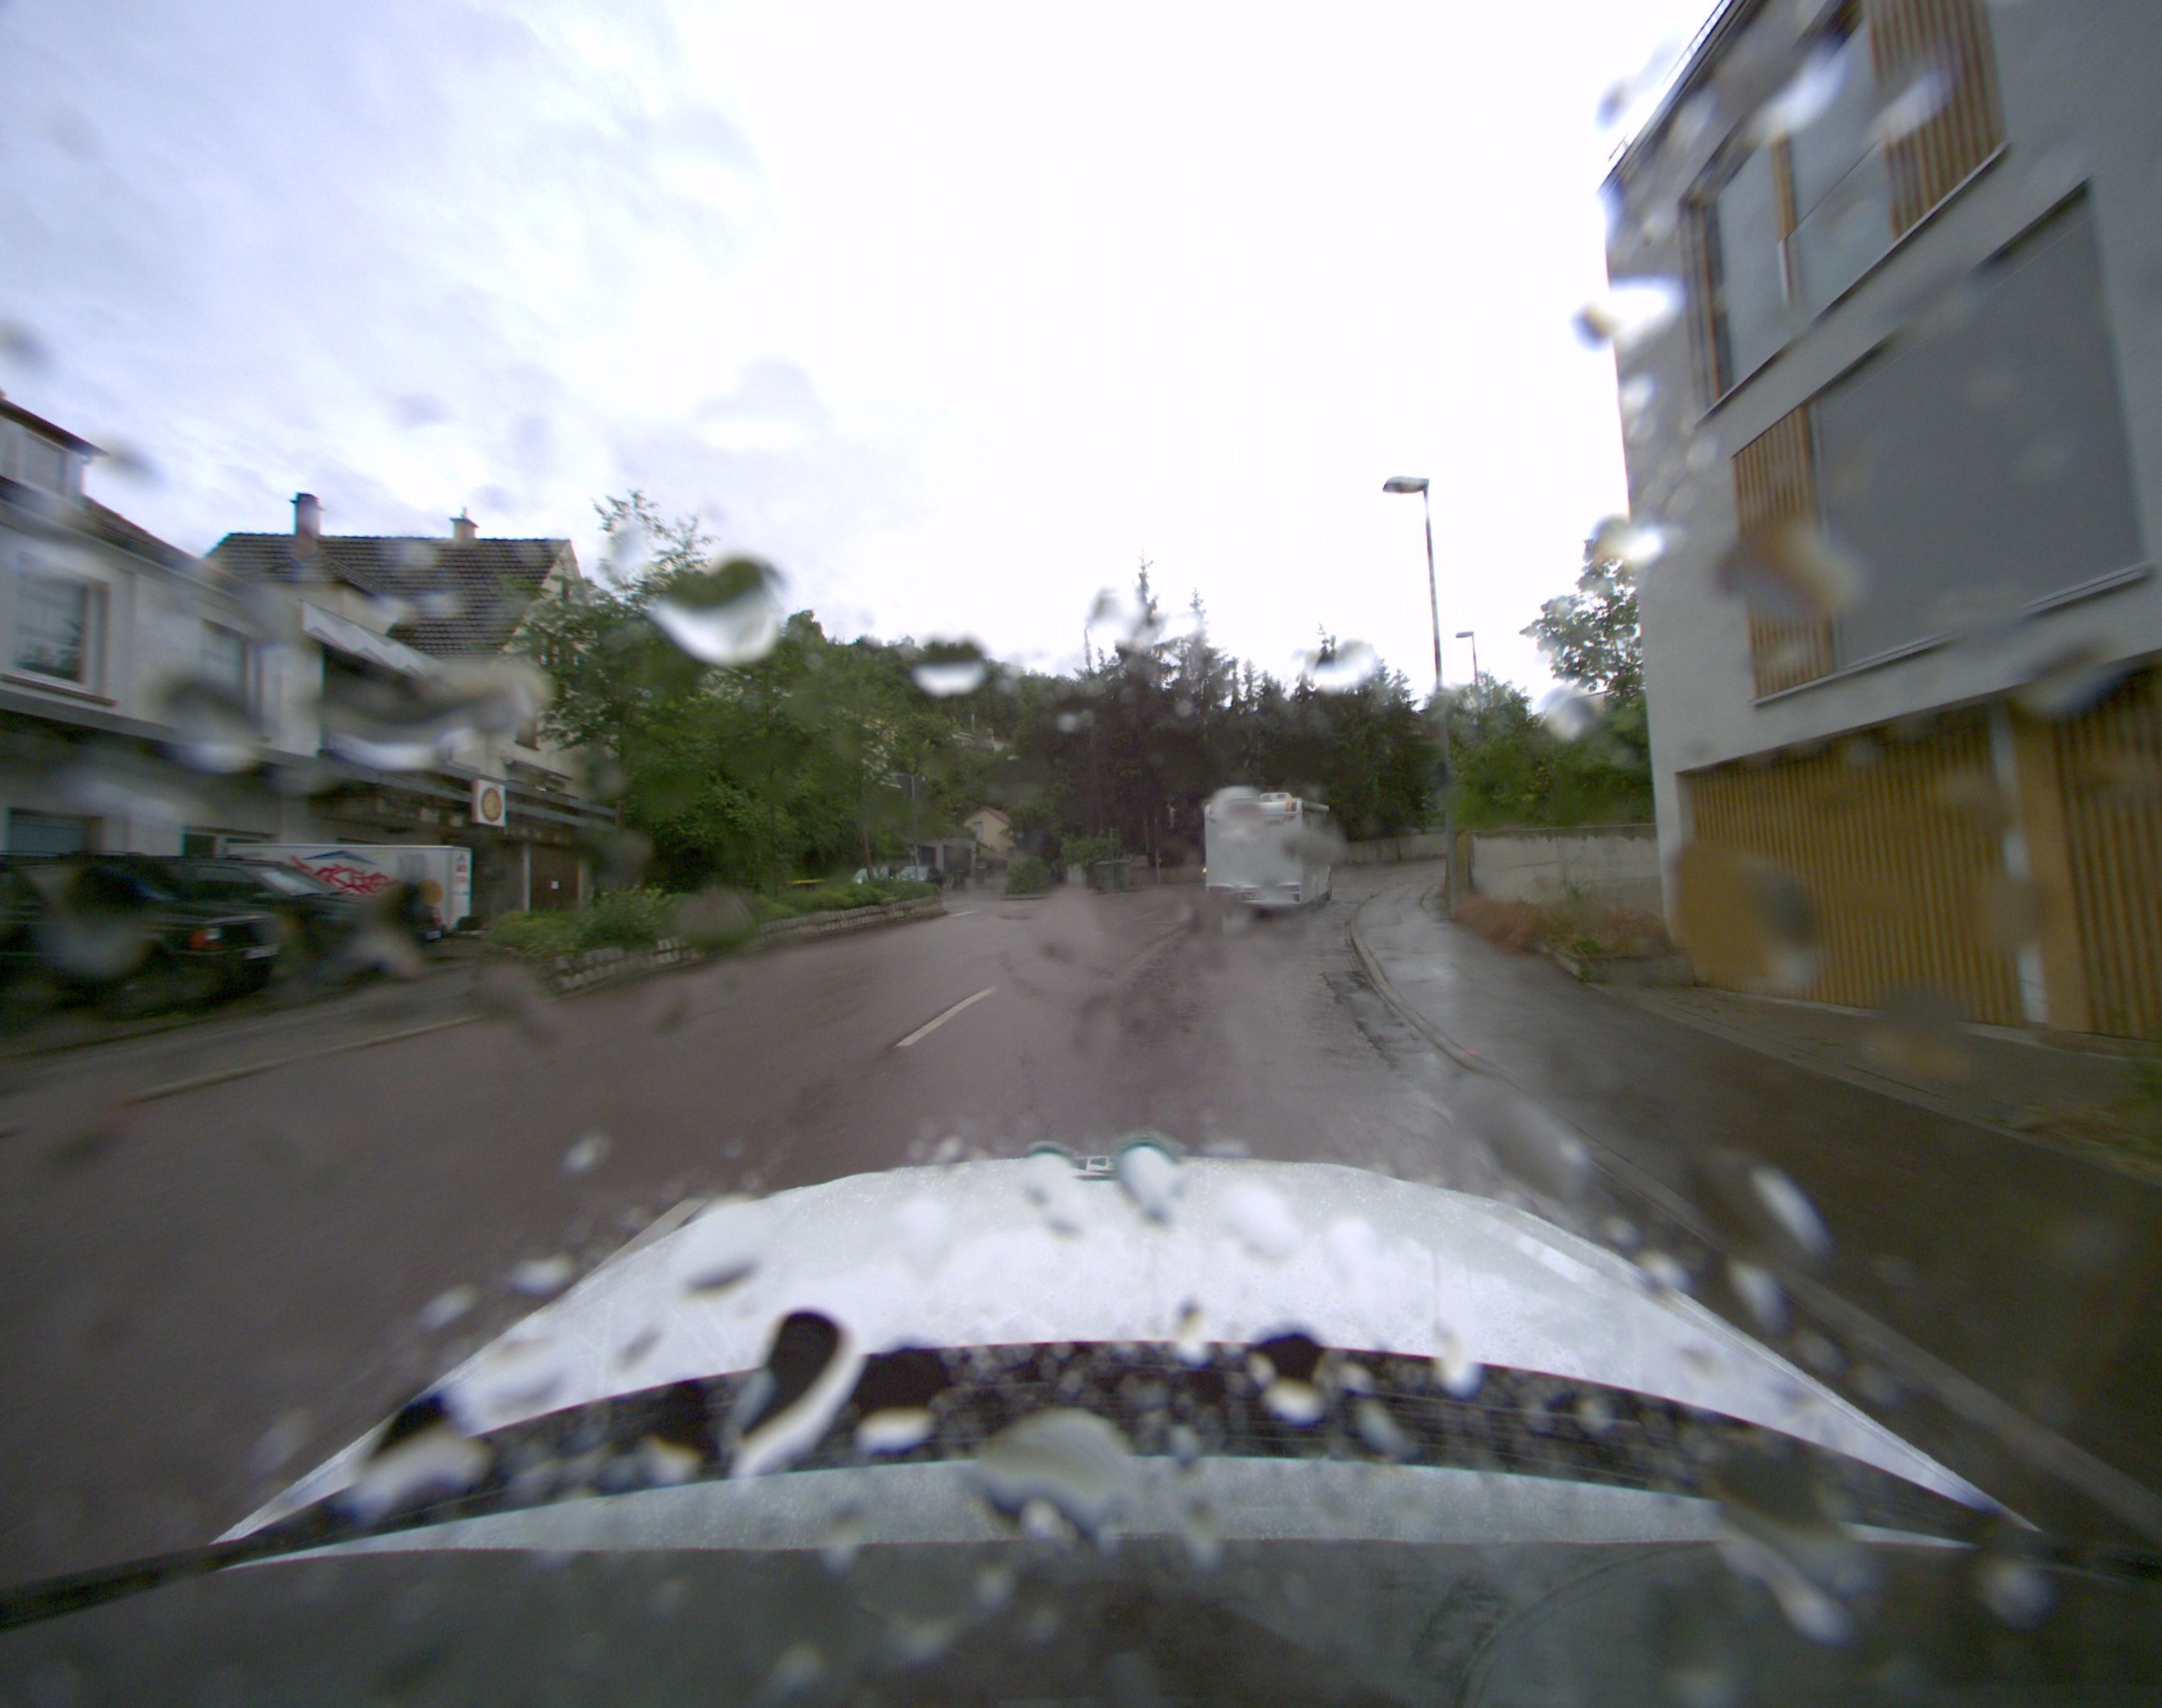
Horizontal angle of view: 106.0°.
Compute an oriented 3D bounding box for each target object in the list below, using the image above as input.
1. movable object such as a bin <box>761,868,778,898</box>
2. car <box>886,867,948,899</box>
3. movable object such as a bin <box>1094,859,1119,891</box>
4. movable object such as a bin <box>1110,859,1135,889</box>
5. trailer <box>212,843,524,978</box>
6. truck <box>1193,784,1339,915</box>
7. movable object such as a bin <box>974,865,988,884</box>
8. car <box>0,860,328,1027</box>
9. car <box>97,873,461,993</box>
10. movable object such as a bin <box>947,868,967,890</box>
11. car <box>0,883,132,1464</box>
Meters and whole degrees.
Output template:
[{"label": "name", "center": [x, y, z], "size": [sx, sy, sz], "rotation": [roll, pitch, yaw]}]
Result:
[{"label": "movable object such as a bin", "center": [-11.385, 1.063, 29.766], "size": [0.364, 1.064, 0.500], "rotation": [-1, -1, 7]}, {"label": "car", "center": [-7.734, 1.320, 38.839], "size": [1.589, 1.360, 4.455], "rotation": [-1, 0, 6]}, {"label": "movable object such as a bin", "center": [0.924, 0.758, 29.846], "size": [0.671, 1.139, 0.619], "rotation": [0, -1, -35]}, {"label": "movable object such as a bin", "center": [1.530, 0.742, 30.228], "size": [0.709, 1.088, 0.554], "rotation": [-1, -1, -35]}, {"label": "trailer", "center": [-12.936, 0.954, 15.160], "size": [3.971, 2.102, 1.935], "rotation": [-2, -1, -28]}, {"label": "truck", "center": [4.943, -0.080, 20.845], "size": [2.493, 2.817, 6.236], "rotation": [-1, 0, 23]}, {"label": "movable object such as a bin", "center": [-6.532, 1.361, 53.183], "size": [0.699, 1.222, 0.593], "rotation": [-1, -1, 15]}, {"label": "car", "center": [-11.870, 0.965, 9.529], "size": [4.084, 1.774, 1.790], "rotation": [0, -1, -15]}, {"label": "car", "center": [-11.606, 1.071, 12.091], "size": [3.342, 1.485, 1.829], "rotation": [-1, 0, -17]}, {"label": "movable object such as a bin", "center": [-7.091, 1.422, 46.527], "size": [0.846, 1.198, 0.936], "rotation": [-1, -1, 13]}, {"label": "car", "center": [-3.481, 0.786, 0.413], "size": [1.671, 1.405, 3.677], "rotation": [-1, 0, 0]}]
